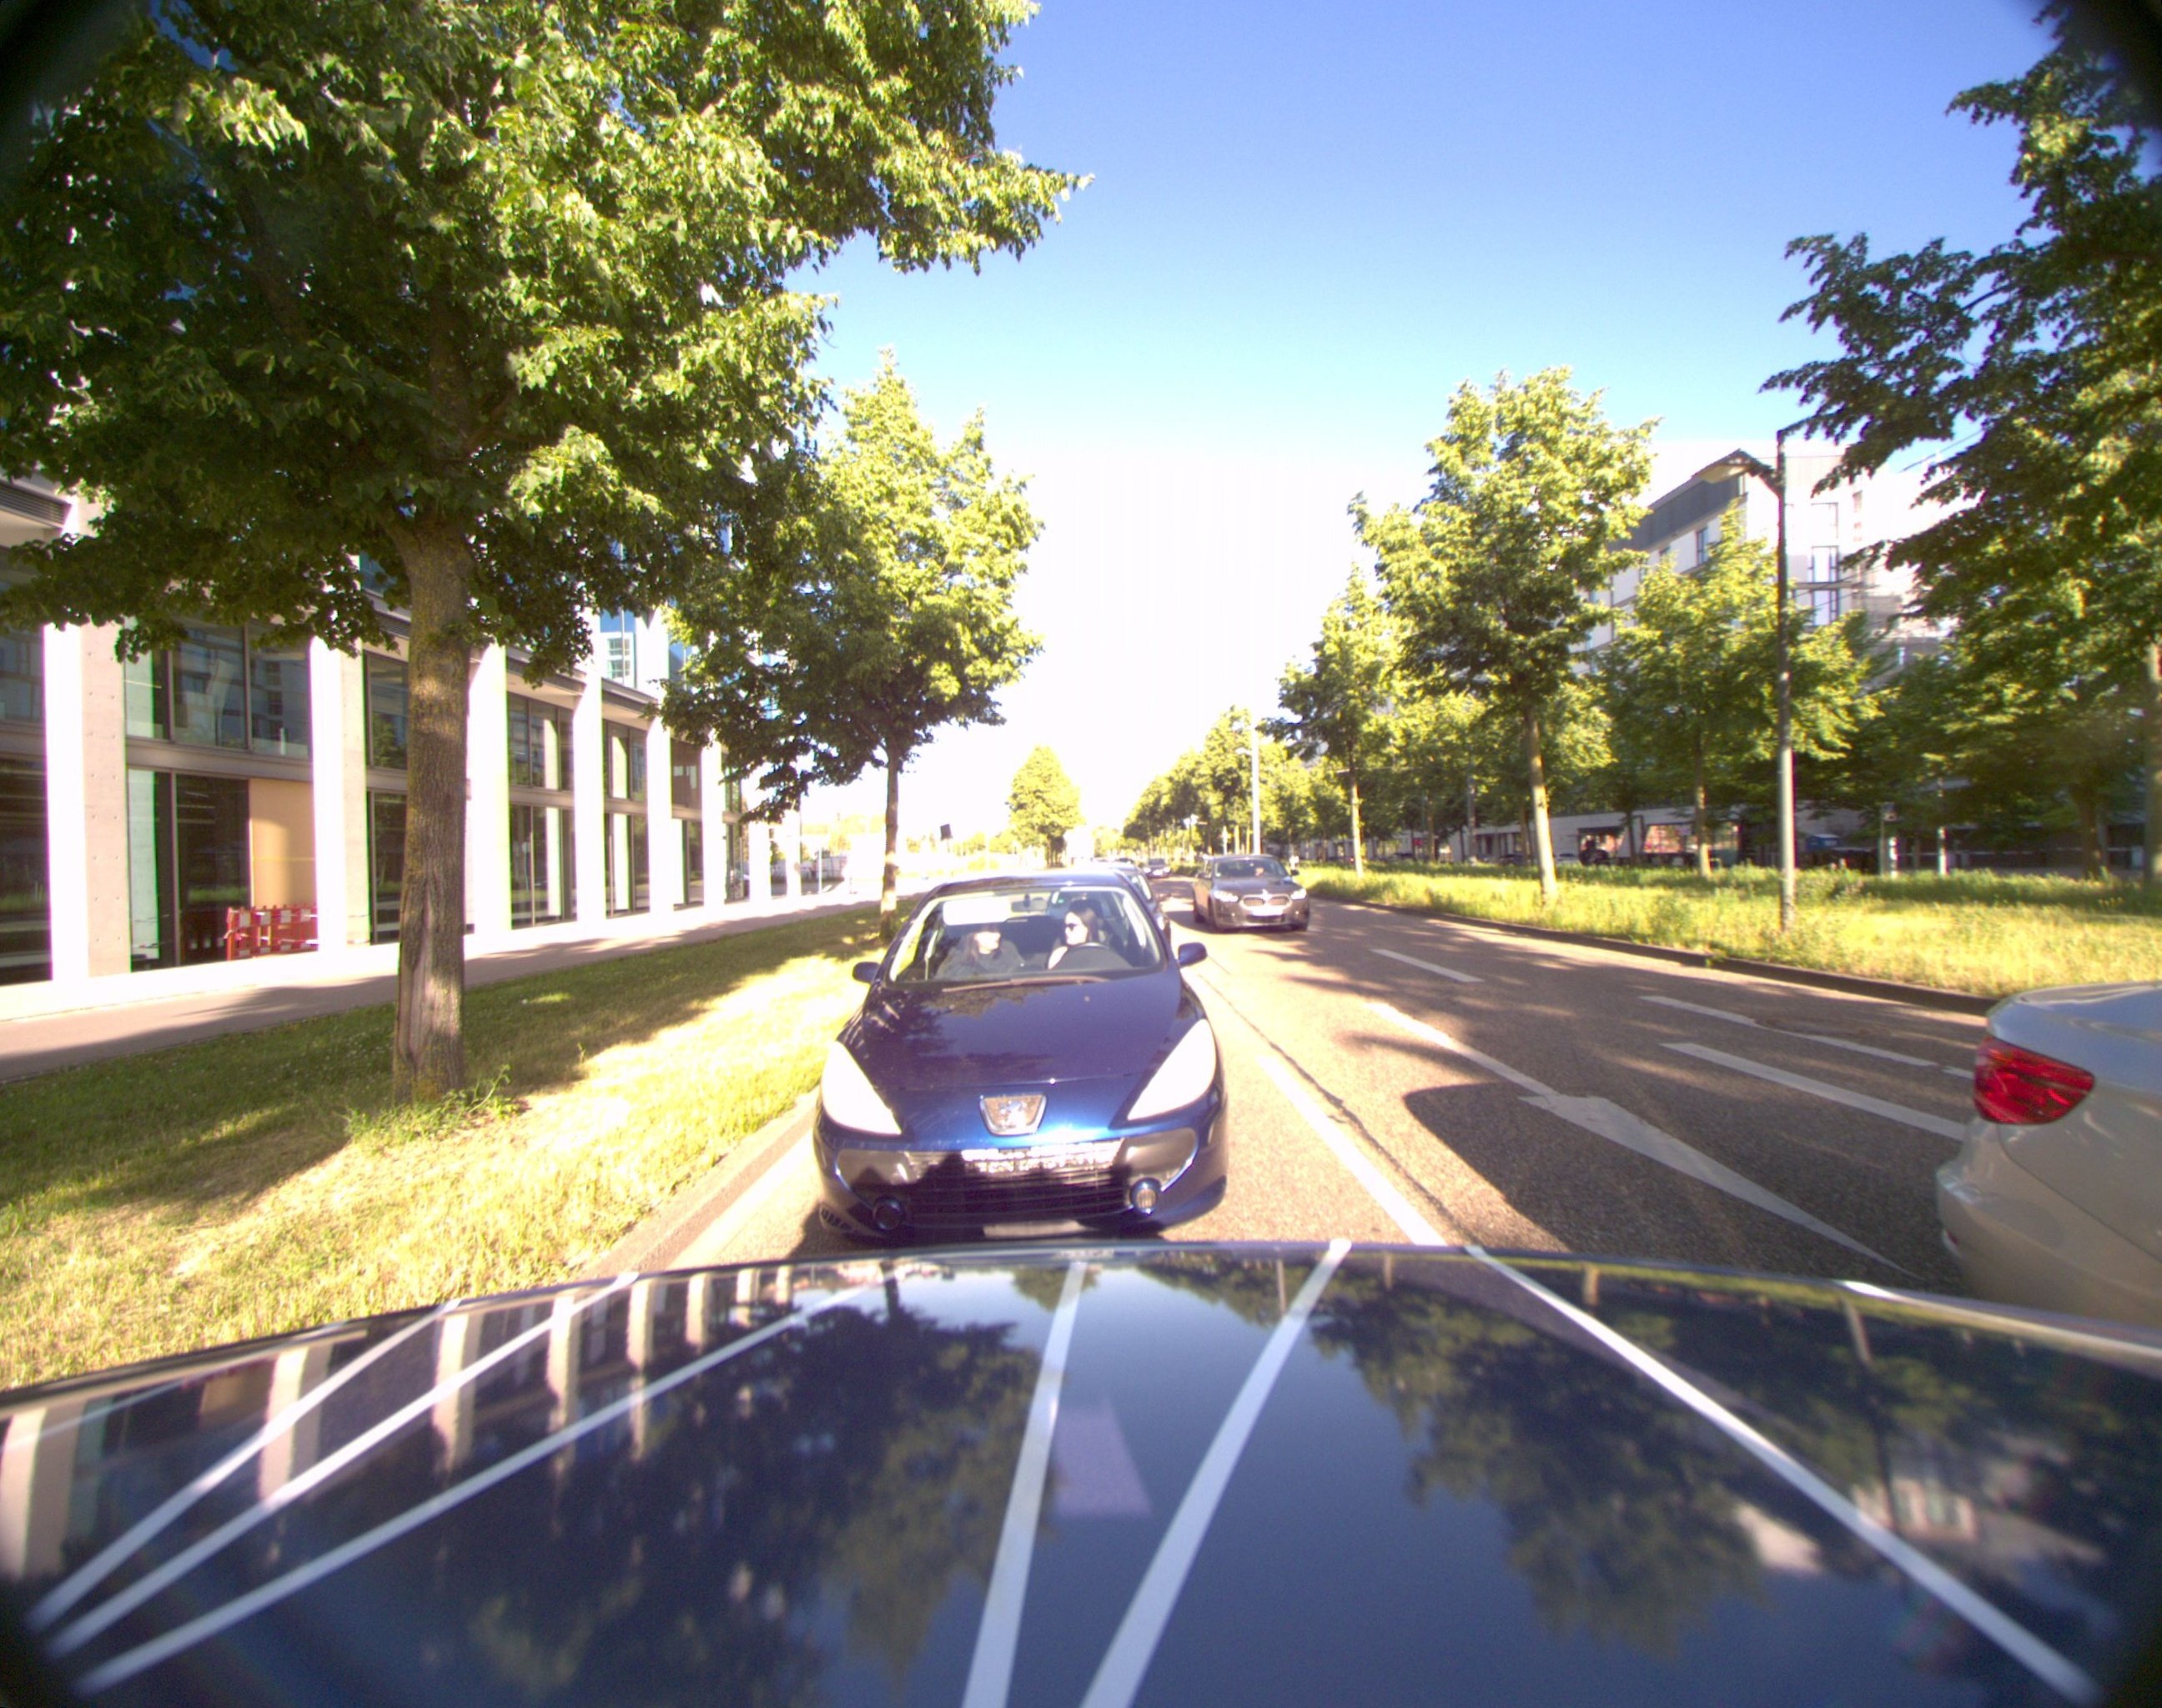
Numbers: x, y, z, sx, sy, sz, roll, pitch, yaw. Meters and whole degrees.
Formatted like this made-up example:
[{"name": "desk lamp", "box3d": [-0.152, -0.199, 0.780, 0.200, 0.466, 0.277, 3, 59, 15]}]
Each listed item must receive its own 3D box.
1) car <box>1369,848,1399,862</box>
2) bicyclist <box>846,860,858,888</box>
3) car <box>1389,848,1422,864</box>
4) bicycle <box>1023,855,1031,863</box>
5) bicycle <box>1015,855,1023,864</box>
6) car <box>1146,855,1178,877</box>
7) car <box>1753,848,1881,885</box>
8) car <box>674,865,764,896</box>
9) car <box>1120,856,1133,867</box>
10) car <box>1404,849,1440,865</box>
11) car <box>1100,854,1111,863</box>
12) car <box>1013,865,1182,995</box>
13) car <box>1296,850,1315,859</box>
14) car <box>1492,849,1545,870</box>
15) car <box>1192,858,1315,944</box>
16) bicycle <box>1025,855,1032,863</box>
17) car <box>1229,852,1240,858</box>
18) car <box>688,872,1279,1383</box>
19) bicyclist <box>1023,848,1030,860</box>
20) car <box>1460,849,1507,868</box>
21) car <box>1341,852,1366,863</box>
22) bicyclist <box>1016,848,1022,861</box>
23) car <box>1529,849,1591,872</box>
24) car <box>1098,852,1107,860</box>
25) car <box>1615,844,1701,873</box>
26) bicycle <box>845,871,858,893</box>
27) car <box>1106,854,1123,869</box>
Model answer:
[{"name": "car", "box3d": [35.505, 0.144, 89.037, 1.884, 1.588, 4.184, -1, 0, 1]}, {"name": "bicyclist", "box3d": [-12.670, 1.103, 42.043, 0.592, 1.530, 0.698, 1, 0, -15]}, {"name": "car", "box3d": [35.447, 0.200, 83.117, 1.884, 1.588, 4.184, -1, 0, 1]}, {"name": "bicycle", "box3d": [-8.866, 0.830, 123.803, 0.931, 1.355, 4.000, -1, 0, 1]}, {"name": "bicycle", "box3d": [-10.045, 0.907, 123.494, 0.931, 1.355, 4.000, -1, 0, 1]}, {"name": "car", "box3d": [5.637, 0.822, 53.410, 1.878, 1.415, 4.344, -1, 0, 2]}, {"name": "car", "box3d": [34.090, 0.544, 35.365, 1.951, 1.588, 4.184, -1, 0, 1]}, {"name": "car", "box3d": [-20.038, 1.429, 42.163, 3.996, 1.569, 2.000, -1, 0, 3]}, {"name": "car", "box3d": [6.981, 1.104, 116.776, 1.878, 1.577, 4.344, -1, 0, 2]}, {"name": "car", "box3d": [35.035, 0.270, 78.209, 1.884, 1.588, 4.184, -1, 0, 1]}, {"name": "car", "box3d": [4.486, 0.737, 139.958, 1.878, 1.561, 4.344, -1, 0, 2]}, {"name": "car", "box3d": [0.225, 0.954, 11.470, 1.998, 1.437, 4.622, -1, 0, 1]}, {"name": "car", "box3d": [36.614, 0.014, 124.166, 1.998, 1.387, 4.000, -1, 0, 1]}, {"name": "car", "box3d": [35.192, 0.412, 61.244, 1.884, 1.588, 4.184, -1, 0, 1]}, {"name": "car", "box3d": [3.369, 0.855, 15.589, 1.860, 1.482, 4.001, -1, 0, 4]}, {"name": "bicycle", "box3d": [-8.836, 0.791, 127.956, 0.931, 1.355, 4.000, -1, 0, 1]}, {"name": "car", "box3d": [36.120, 0.174, 179.244, 1.998, 1.387, 4.001, -1, 0, 4]}, {"name": "car", "box3d": [-0.284, 0.934, 4.667, 1.846, 1.473, 4.481, -2, 0, 1]}, {"name": "bicyclist", "box3d": [-8.888, 0.003, 123.705, 0.931, 2.045, 1.121, -1, 1, 1]}, {"name": "car", "box3d": [35.159, 0.367, 66.527, 1.884, 1.588, 4.184, -1, 0, 1]}, {"name": "car", "box3d": [35.368, 0.487, 98.545, 1.998, 1.387, 4.001, -1, 0, 4]}, {"name": "bicyclist", "box3d": [-10.056, 0.078, 123.504, 0.931, 2.045, 1.121, -1, 1, 1]}, {"name": "car", "box3d": [34.904, 0.480, 55.525, 1.884, 1.588, 4.184, -1, 0, 1]}, {"name": "car", "box3d": [4.639, 0.380, 164.409, 1.879, 1.561, 4.344, -1, 0, 1]}, {"name": "car", "box3d": [34.323, 0.254, 45.330, 1.951, 1.588, 4.184, -1, 0, 1]}, {"name": "bicycle", "box3d": [-12.678, 1.517, 42.049, 0.592, 1.149, 1.925, 1, 0, -15]}, {"name": "car", "box3d": [3.672, 0.784, 83.435, 1.724, 1.516, 4.000, -1, 0, 1]}]
